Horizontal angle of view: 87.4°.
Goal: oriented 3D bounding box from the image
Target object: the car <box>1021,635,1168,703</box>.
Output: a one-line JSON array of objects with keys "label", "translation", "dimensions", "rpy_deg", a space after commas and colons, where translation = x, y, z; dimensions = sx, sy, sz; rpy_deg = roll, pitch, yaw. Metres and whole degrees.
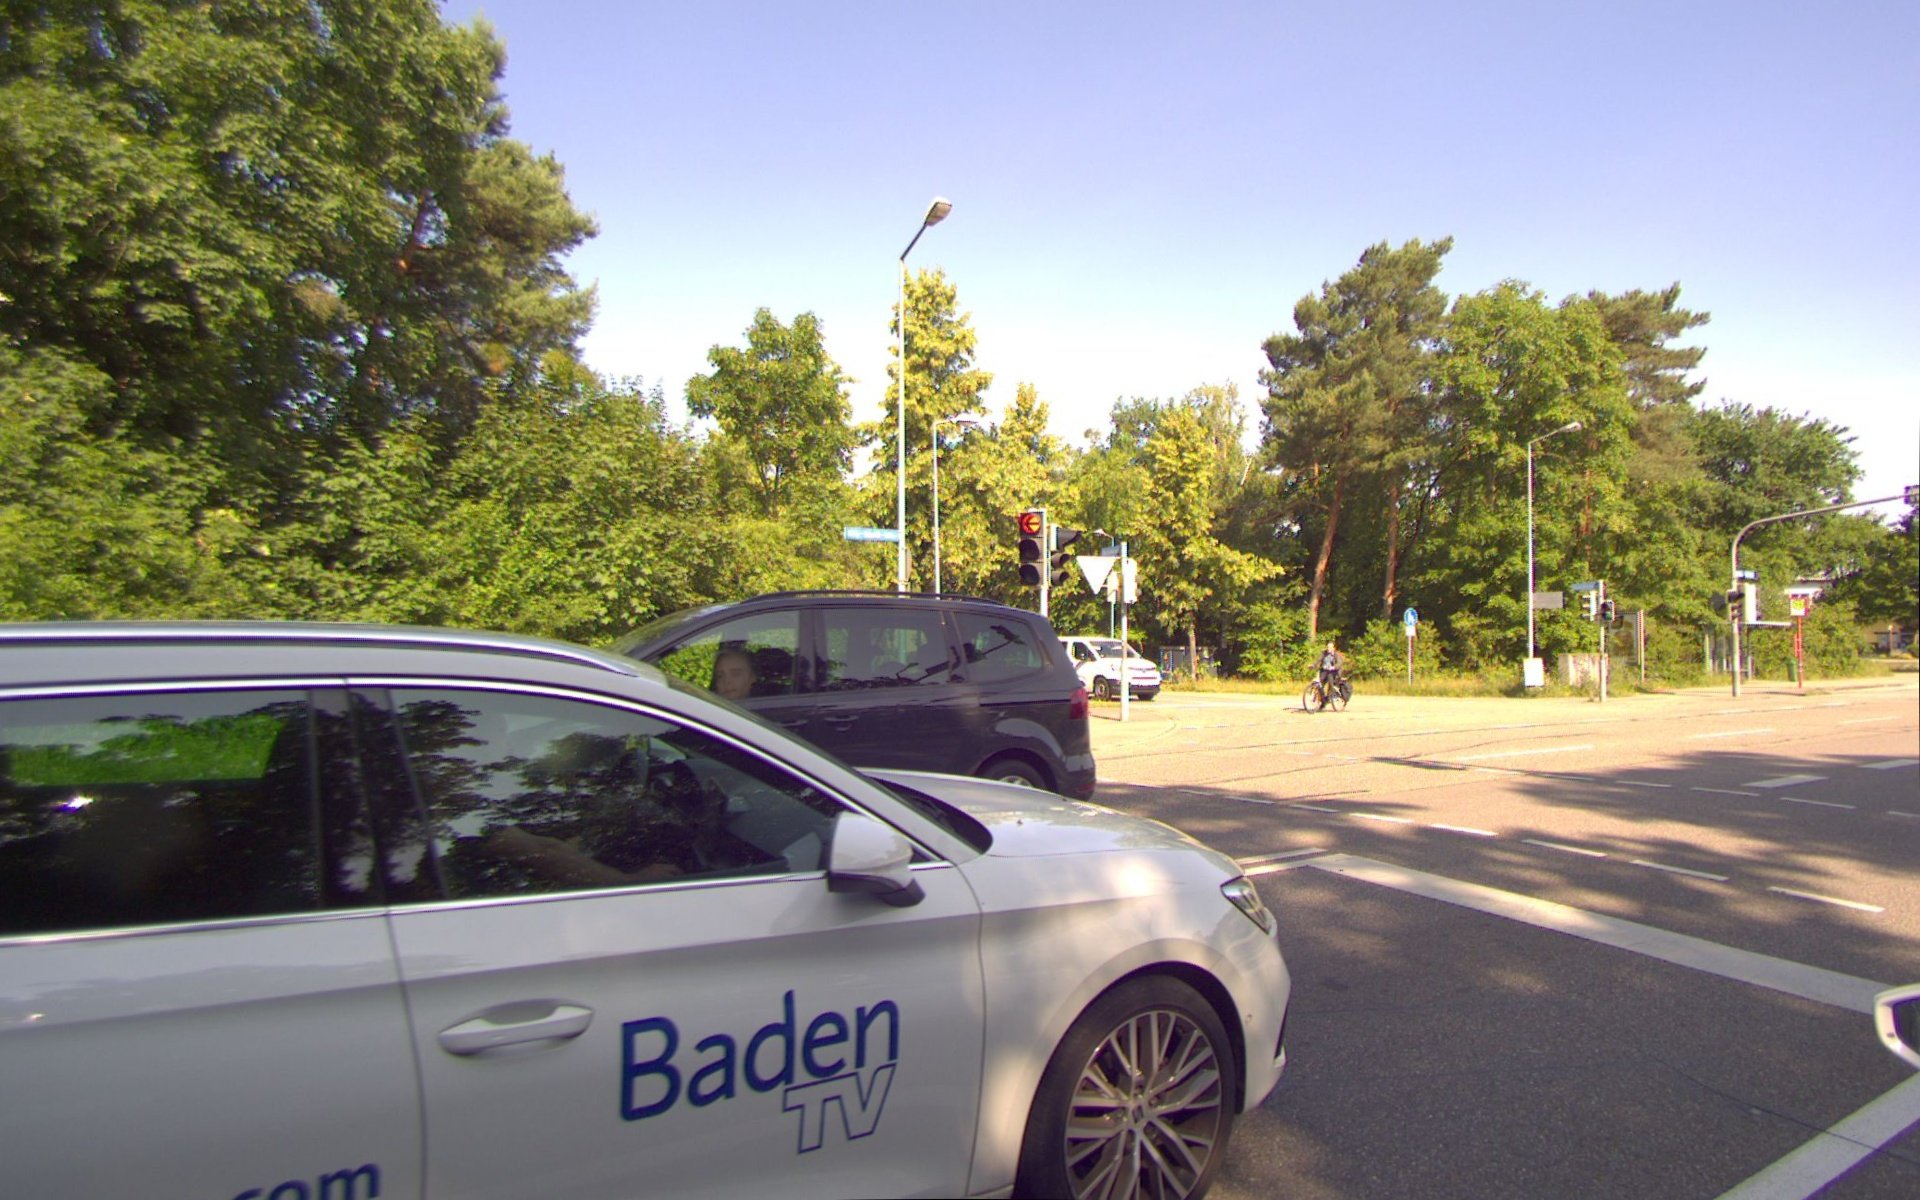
[{"label": "car", "translation": [3.805, 1.992, 29.262], "dimensions": [1.830, 1.801, 4.626], "rpy_deg": [2, -4, -30]}]

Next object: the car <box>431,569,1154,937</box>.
[{"label": "car", "translation": [-0.969, 0.824, 6.599], "dimensions": [4.341, 1.719, 1.783], "rpy_deg": [2, -4, -31]}]

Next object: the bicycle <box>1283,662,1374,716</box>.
[{"label": "bicycle", "translation": [8.544, 2.033, 23.263], "dimensions": [2.347, 1.178, 0.728], "rpy_deg": [2, -3, -33]}]

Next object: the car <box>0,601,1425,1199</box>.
[{"label": "car", "translation": [-1.050, 0.739, 2.399], "dimensions": [4.371, 1.443, 1.775], "rpy_deg": [1, 0, -31]}]

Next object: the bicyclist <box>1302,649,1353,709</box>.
[{"label": "bicyclist", "translation": [8.490, 1.807, 23.221], "dimensions": [0.874, 1.328, 0.717], "rpy_deg": [1, -2, -33]}]
